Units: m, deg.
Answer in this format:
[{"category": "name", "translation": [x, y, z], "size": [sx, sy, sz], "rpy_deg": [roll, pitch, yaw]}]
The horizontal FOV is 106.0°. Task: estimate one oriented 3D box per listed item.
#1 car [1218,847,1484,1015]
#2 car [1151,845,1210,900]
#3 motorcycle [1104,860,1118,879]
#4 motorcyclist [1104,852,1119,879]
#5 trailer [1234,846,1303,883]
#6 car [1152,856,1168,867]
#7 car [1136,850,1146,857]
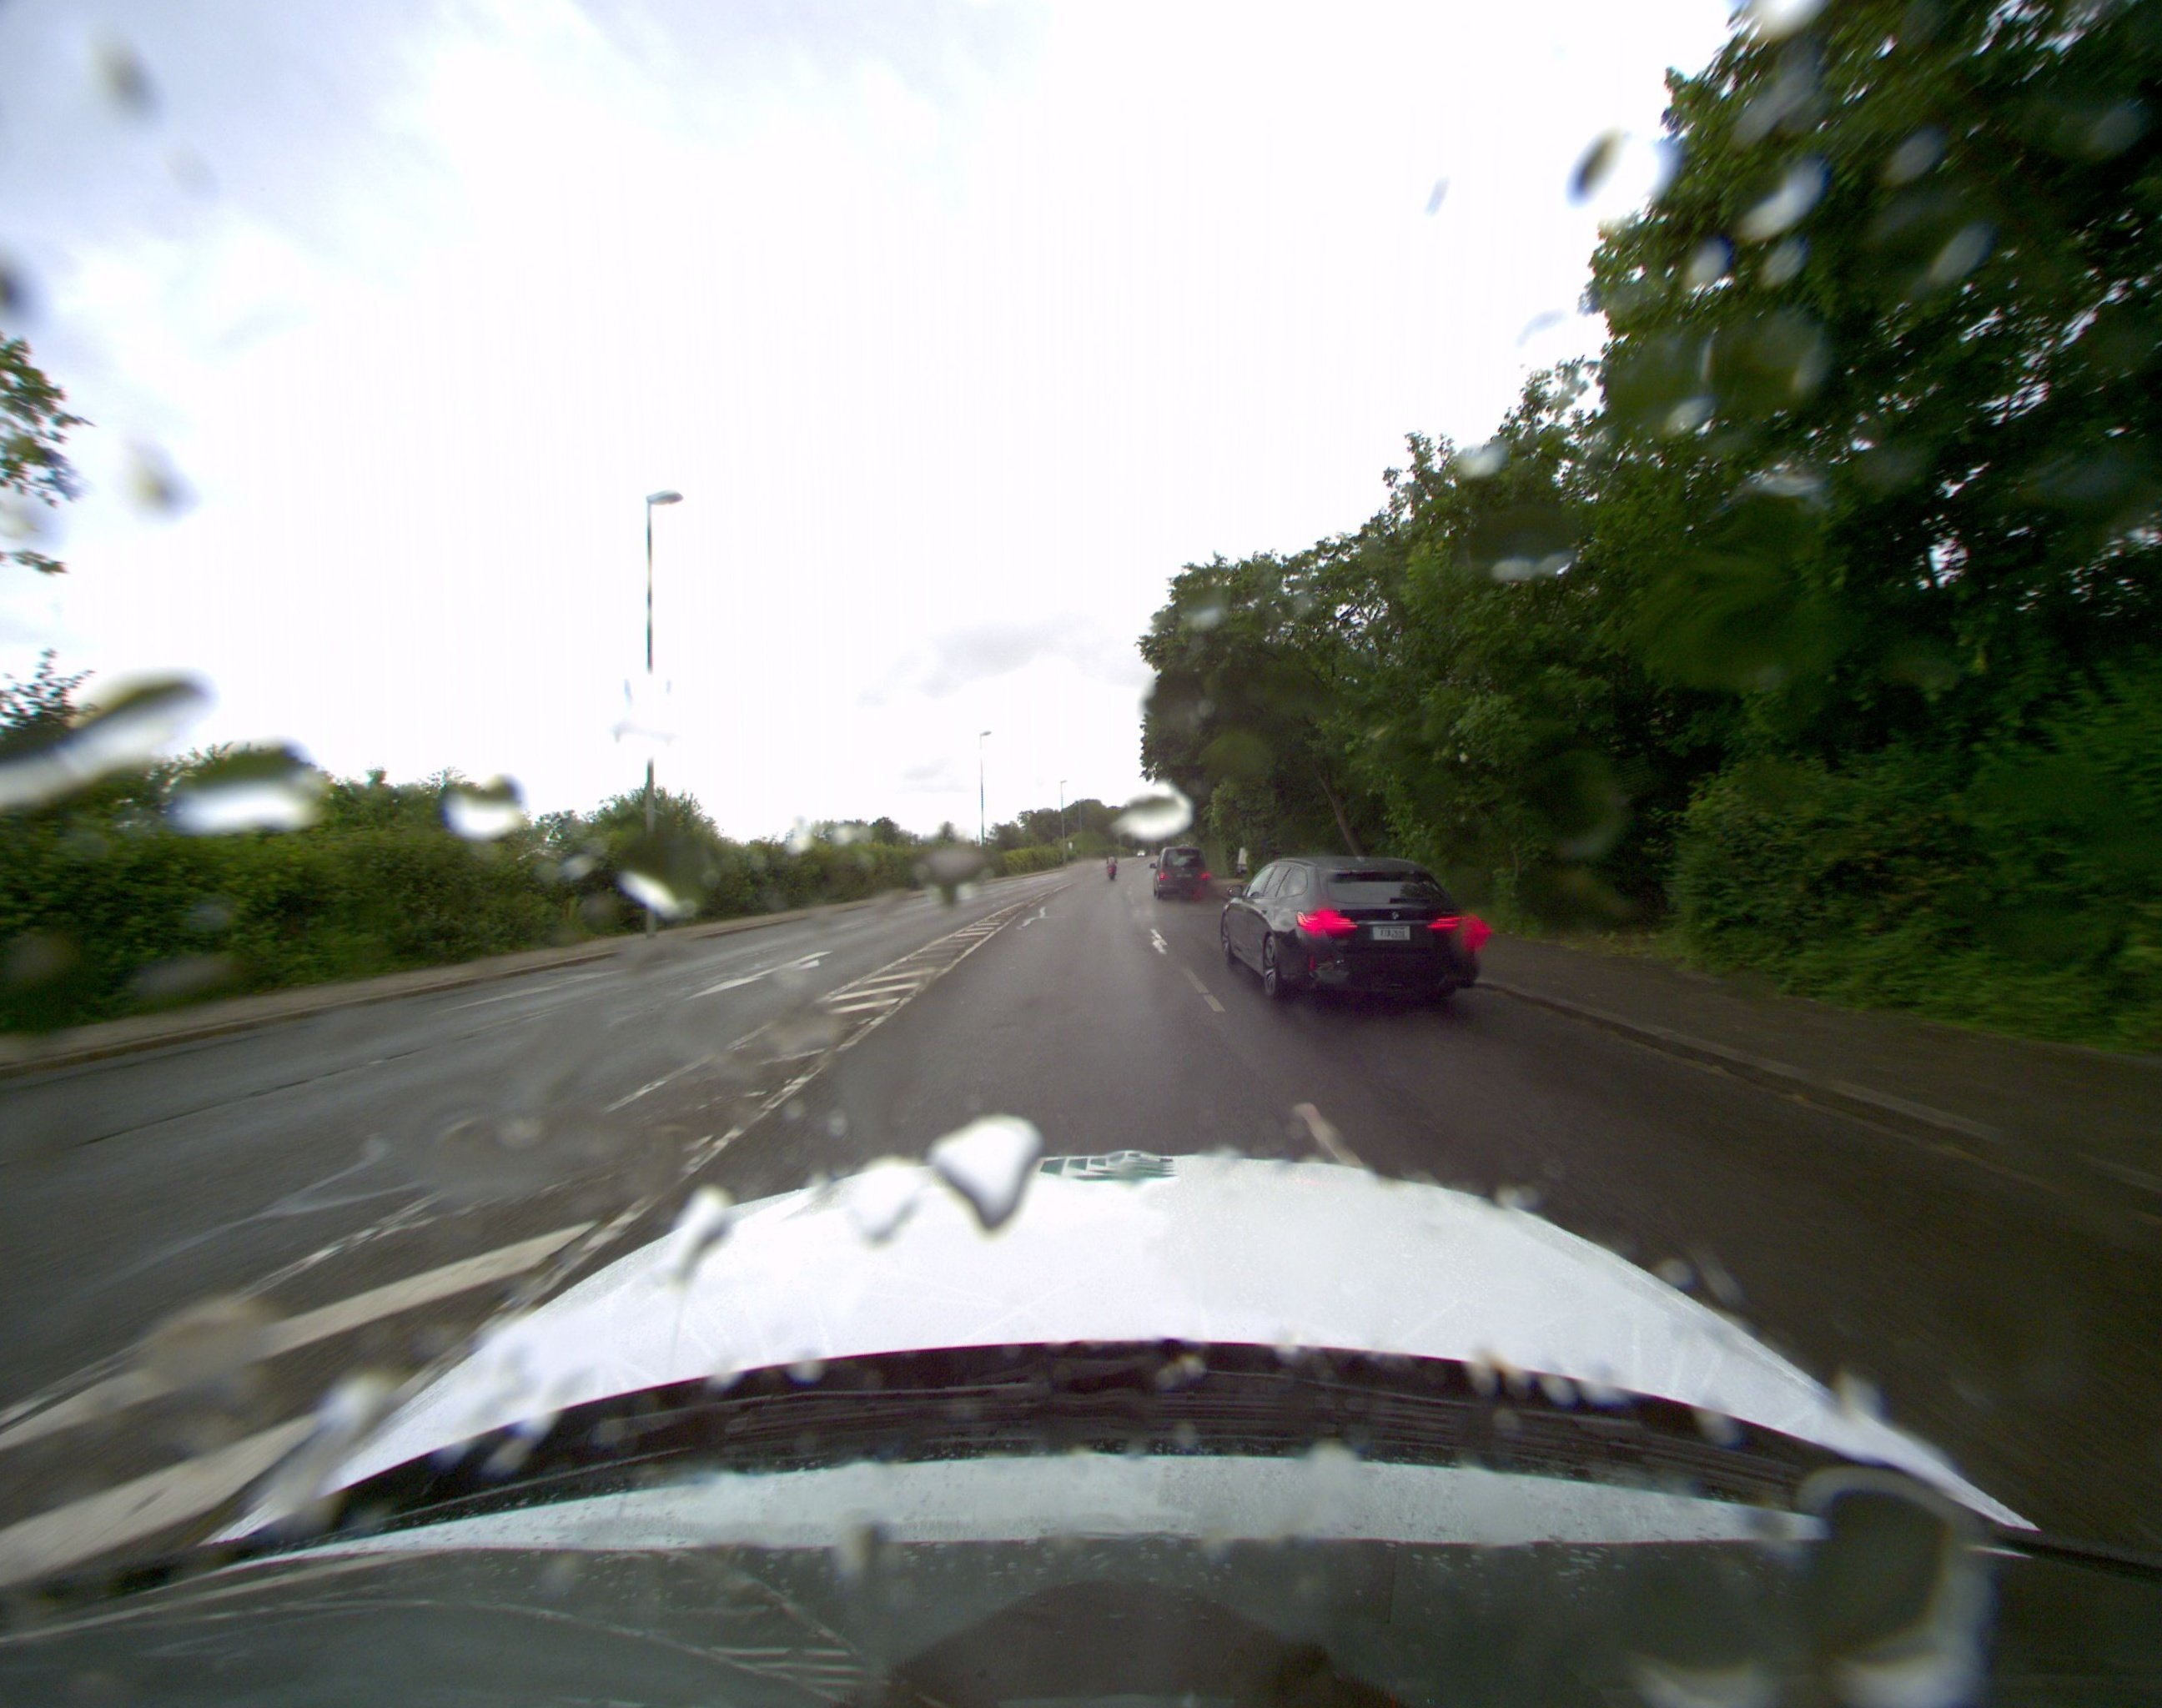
[{"category": "car", "translation": [2.789, 0.715, 9.302], "size": [1.759, 1.536, 3.670], "rpy_deg": [0, 0, -1]}, {"category": "car", "translation": [3.527, 0.618, 29.364], "size": [1.760, 1.810, 3.907], "rpy_deg": [-1, 0, 2]}, {"category": "motorcycle", "translation": [1.904, 0.982, 51.233], "size": [0.737, 1.119, 1.429], "rpy_deg": [-1, 1, 6]}, {"category": "motorcyclist", "translation": [1.898, 0.704, 51.173], "size": [0.841, 1.647, 0.468], "rpy_deg": [-2, 1, 6]}, {"category": "trailer", "translation": [10.082, 0.545, 43.820], "size": [3.333, 1.647, 1.200], "rpy_deg": [6, 1, 4]}, {"category": "car", "translation": [11.310, 1.014, 116.535], "size": [2.002, 1.415, 4.499], "rpy_deg": [-1, 1, 10]}, {"category": "car", "translation": [14.445, -0.079, 195.871], "size": [1.745, 1.662, 3.849], "rpy_deg": [-1, 1, -4]}]
